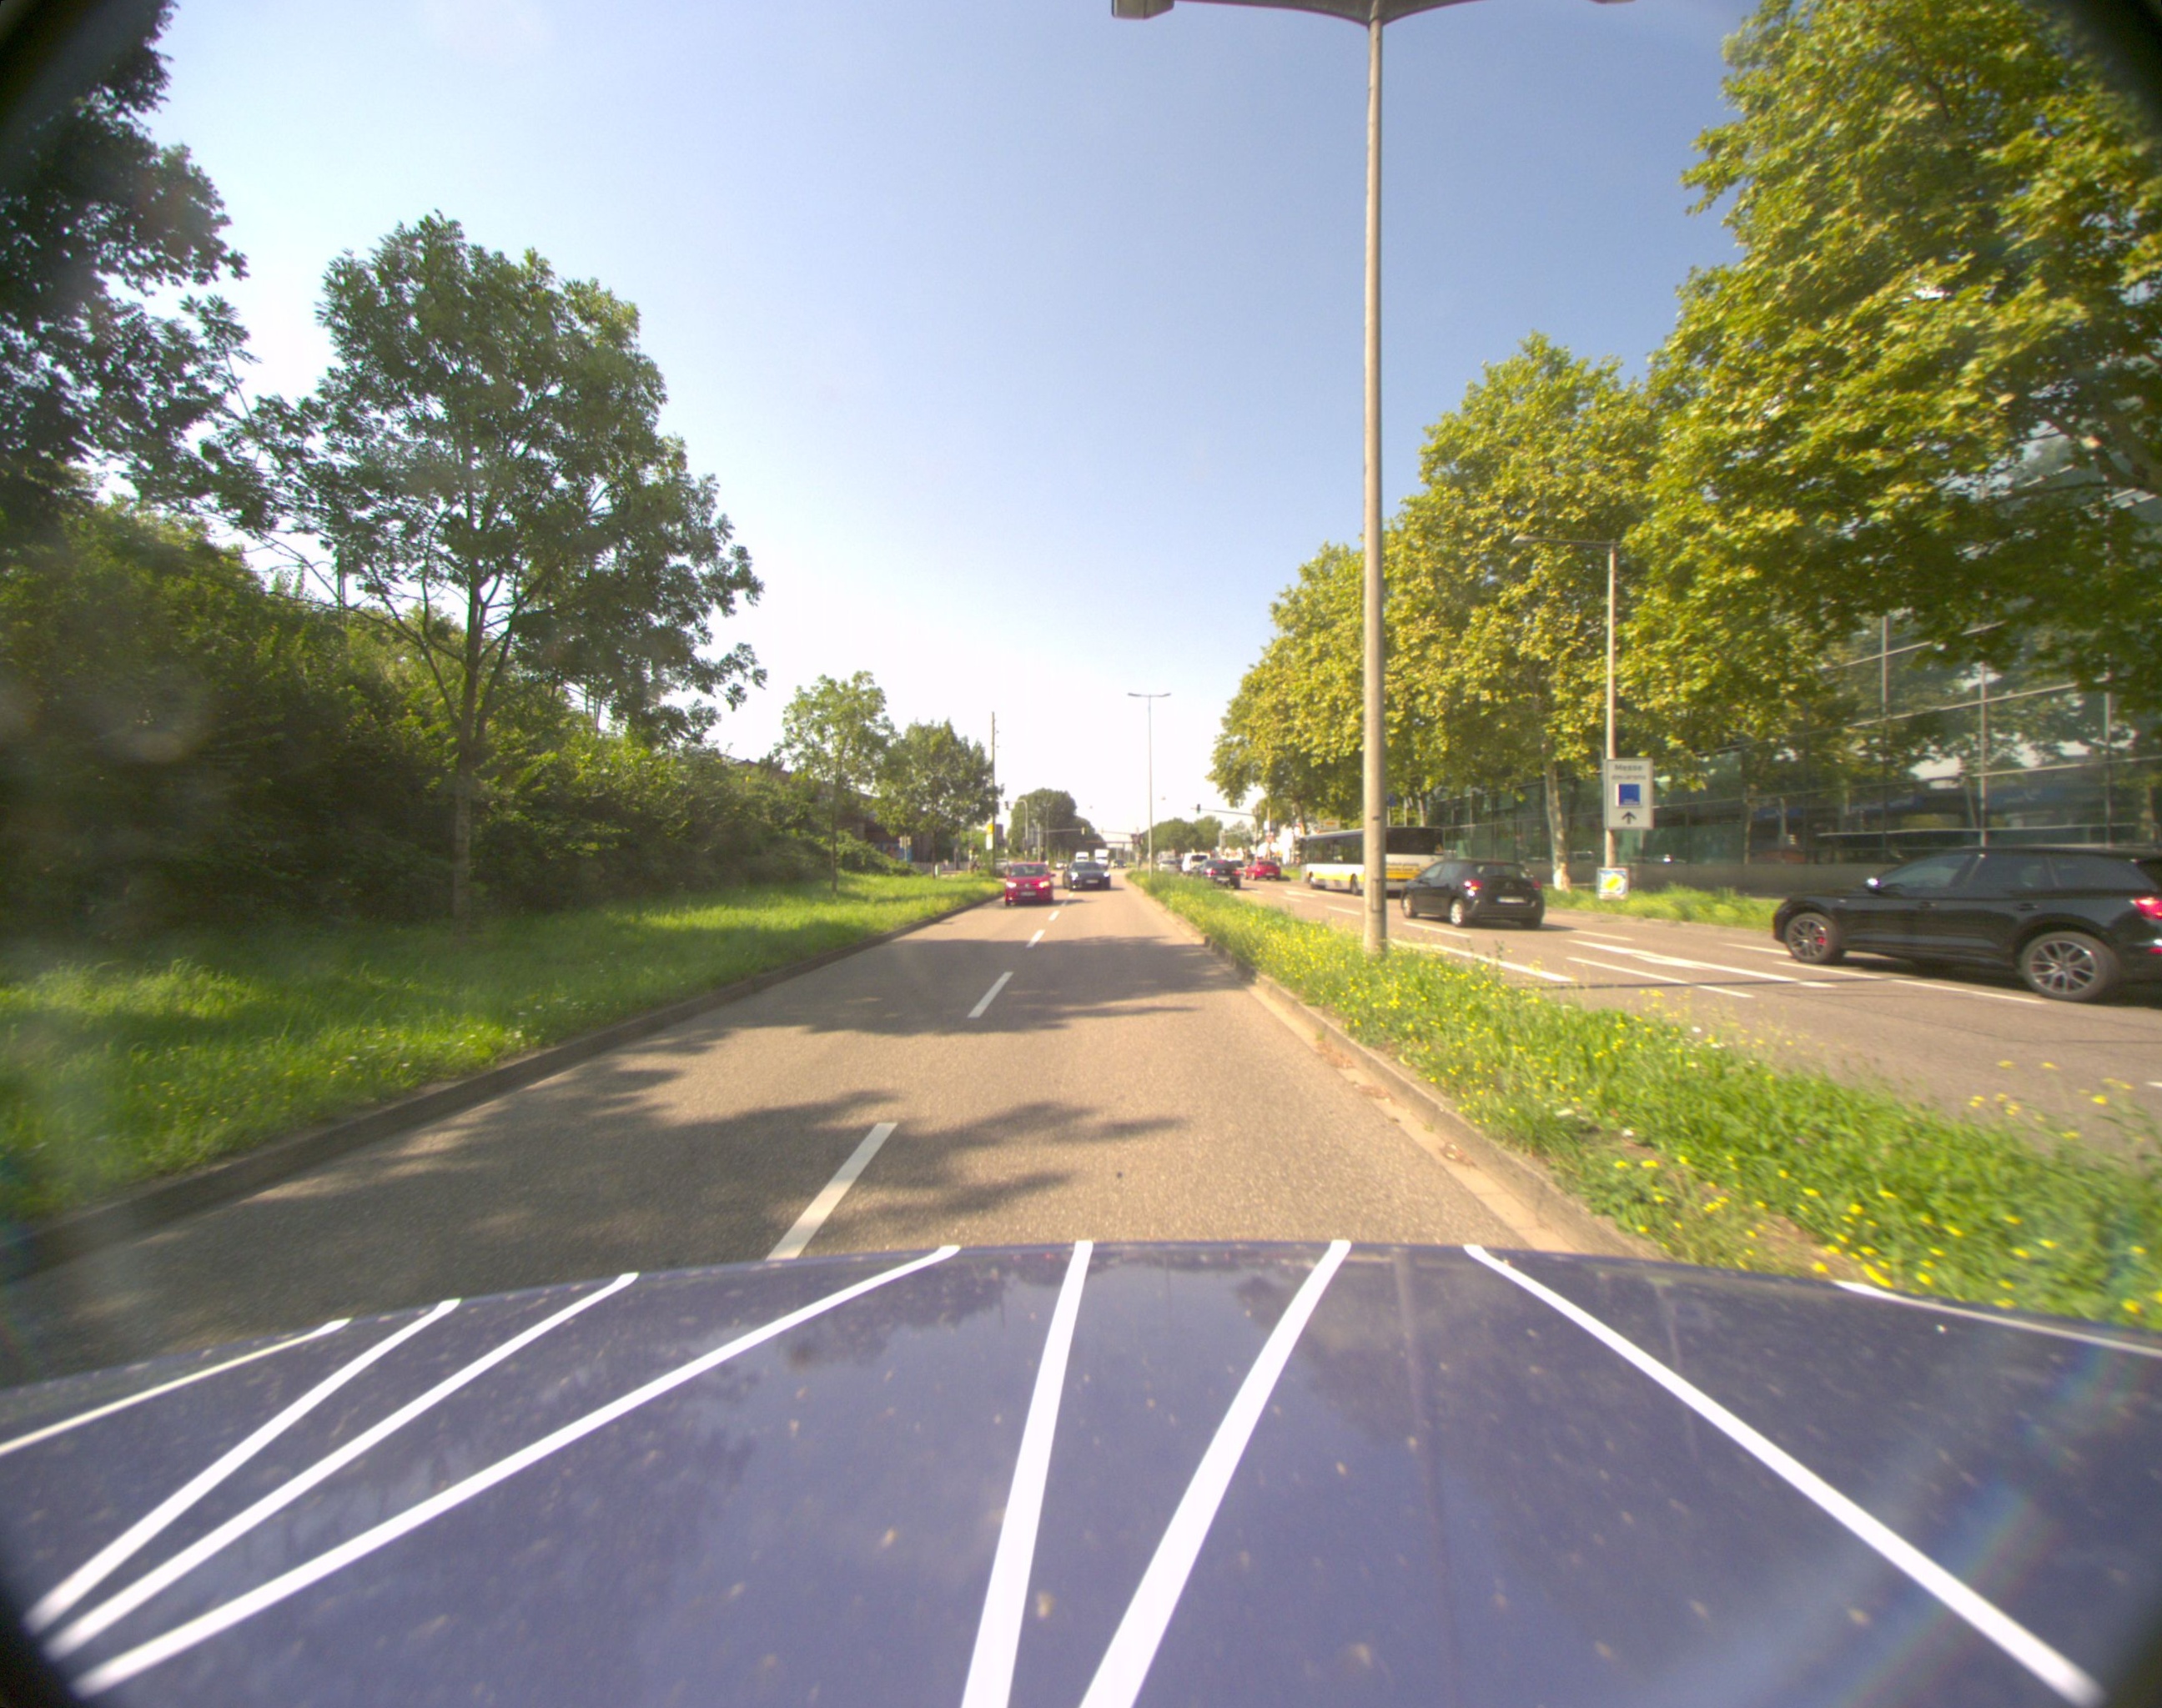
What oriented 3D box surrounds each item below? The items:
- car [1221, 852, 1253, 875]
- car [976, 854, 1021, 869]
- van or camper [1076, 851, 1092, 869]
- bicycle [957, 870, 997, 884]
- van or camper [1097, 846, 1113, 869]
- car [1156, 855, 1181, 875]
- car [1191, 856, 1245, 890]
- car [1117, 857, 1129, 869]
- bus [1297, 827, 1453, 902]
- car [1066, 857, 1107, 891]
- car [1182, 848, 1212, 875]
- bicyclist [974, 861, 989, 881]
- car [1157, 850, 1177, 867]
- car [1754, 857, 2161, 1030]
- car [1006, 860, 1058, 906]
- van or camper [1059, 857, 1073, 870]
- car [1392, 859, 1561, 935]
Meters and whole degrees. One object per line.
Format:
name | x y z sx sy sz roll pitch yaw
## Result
car | 13.342 0.787 65.219 1.932 1.884 3.976 1 0 0
car | -8.850 0.773 81.802 4.601 1.434 1.842 1 0 3
van or camper | 0.529 0.970 117.195 2.247 2.467 6.870 -2 -3 2
bicycle | -8.472 1.867 61.737 2.982 1.043 1.232 0 -1 -27
van or camper | 3.854 0.677 121.489 2.247 3.341 6.856 -2 -3 4
car | 7.117 0.903 62.135 1.618 1.526 4.102 1 -1 1
car | 6.418 0.848 35.998 1.850 1.481 4.644 1 0 2
car | 6.776 1.478 122.136 1.904 1.603 5.199 -2 -3 4
bus | 12.223 0.356 33.050 2.668 2.678 10.906 1 0 1
car | 0.201 0.963 36.716 1.643 1.458 3.553 -3 -1 -4
car | 10.012 0.601 65.786 1.931 1.950 5.188 1 3 2
bicyclist | -8.092 1.359 61.899 0.971 1.648 0.711 0 0 -27
car | 10.455 0.561 92.621 1.932 1.946 5.213 0 -1 0
car | 11.118 0.857 9.241 1.850 1.596 4.611 1 0 2
car | -1.823 0.995 27.147 1.643 1.458 3.552 -2 0 -6
van or camper | -2.245 1.404 114.365 1.850 1.765 4.177 -2 -3 2
car | 8.717 0.862 17.228 1.709 1.481 4.313 0 0 2
